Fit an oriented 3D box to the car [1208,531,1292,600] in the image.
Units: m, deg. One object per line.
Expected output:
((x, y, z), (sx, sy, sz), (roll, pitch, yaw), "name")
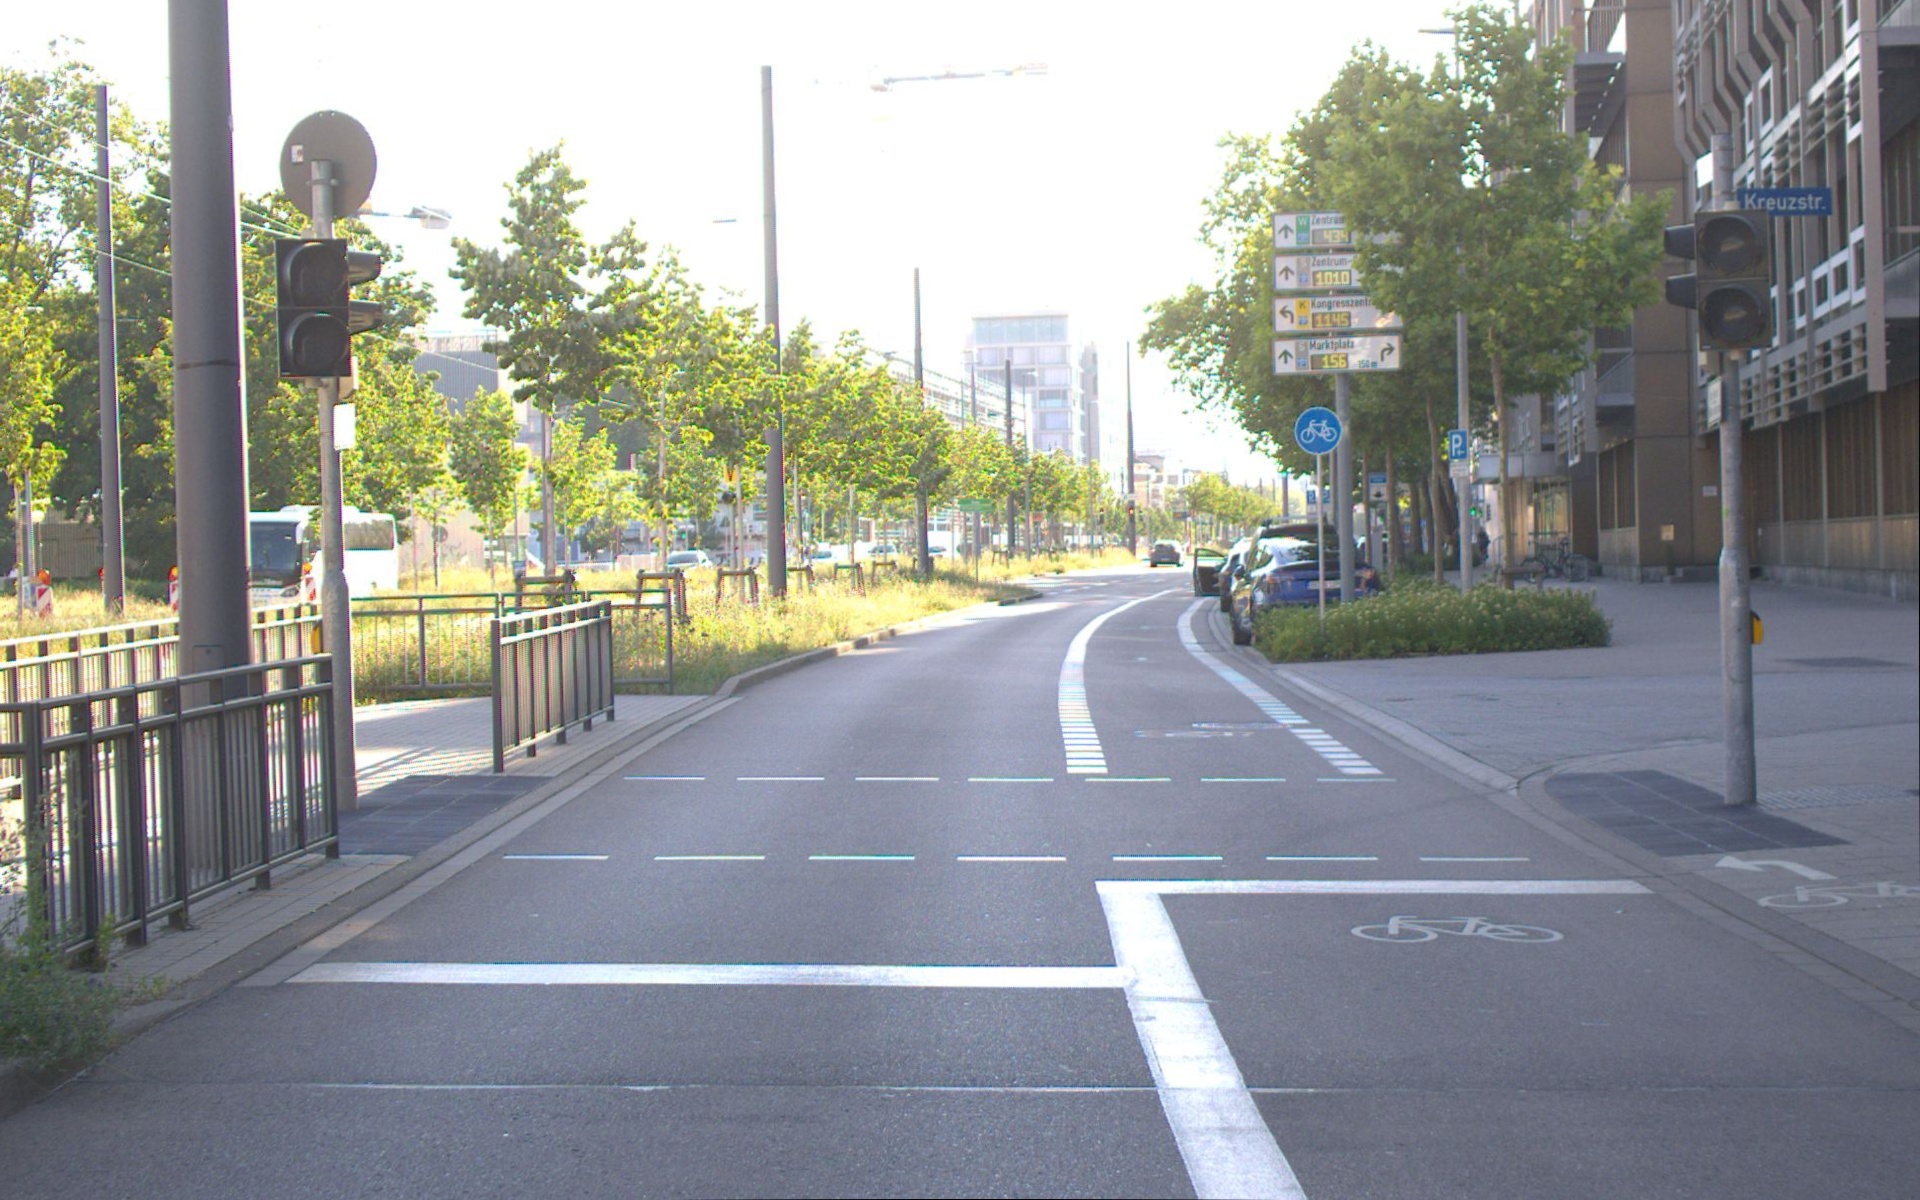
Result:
((6.686, -0.816, 79.123), (1.795, 1.444, 4.376), (-3, 1, 5), "car")

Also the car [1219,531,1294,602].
((7.306, -0.856, 84.931), (1.728, 1.616, 4.216), (-3, 1, 4), "car")

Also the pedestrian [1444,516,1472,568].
((15.925, -1.861, 110.028), (0.789, 1.643, 1.136), (-2, 1, 6), "pedestrian")

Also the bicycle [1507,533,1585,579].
((15.118, -1.135, 88.686), (1.899, 1.089, 0.392), (-2, 1, 0), "bicycle")

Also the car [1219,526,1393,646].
((5.064, -0.240, 50.898), (1.931, 1.593, 4.699), (-3, 1, -1), "car")

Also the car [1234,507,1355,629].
((5.641, -0.572, 58.422), (1.735, 1.912, 4.393), (-3, 1, 3), "car")

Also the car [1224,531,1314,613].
((6.153, -0.574, 68.329), (1.664, 1.485, 4.203), (-3, 1, 6), "car")

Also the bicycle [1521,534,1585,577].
((15.737, -1.178, 91.309), (1.627, 1.078, 0.392), (-2, 1, 8), "bicycle")

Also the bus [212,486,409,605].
((-20.906, -1.779, 111.597), (2.799, 3.582, 12.696), (-1, 1, 5), "bus")

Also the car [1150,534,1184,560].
((11.616, -2.985, 192.867), (1.777, 1.423, 3.999), (0, 1, 6), "car")
